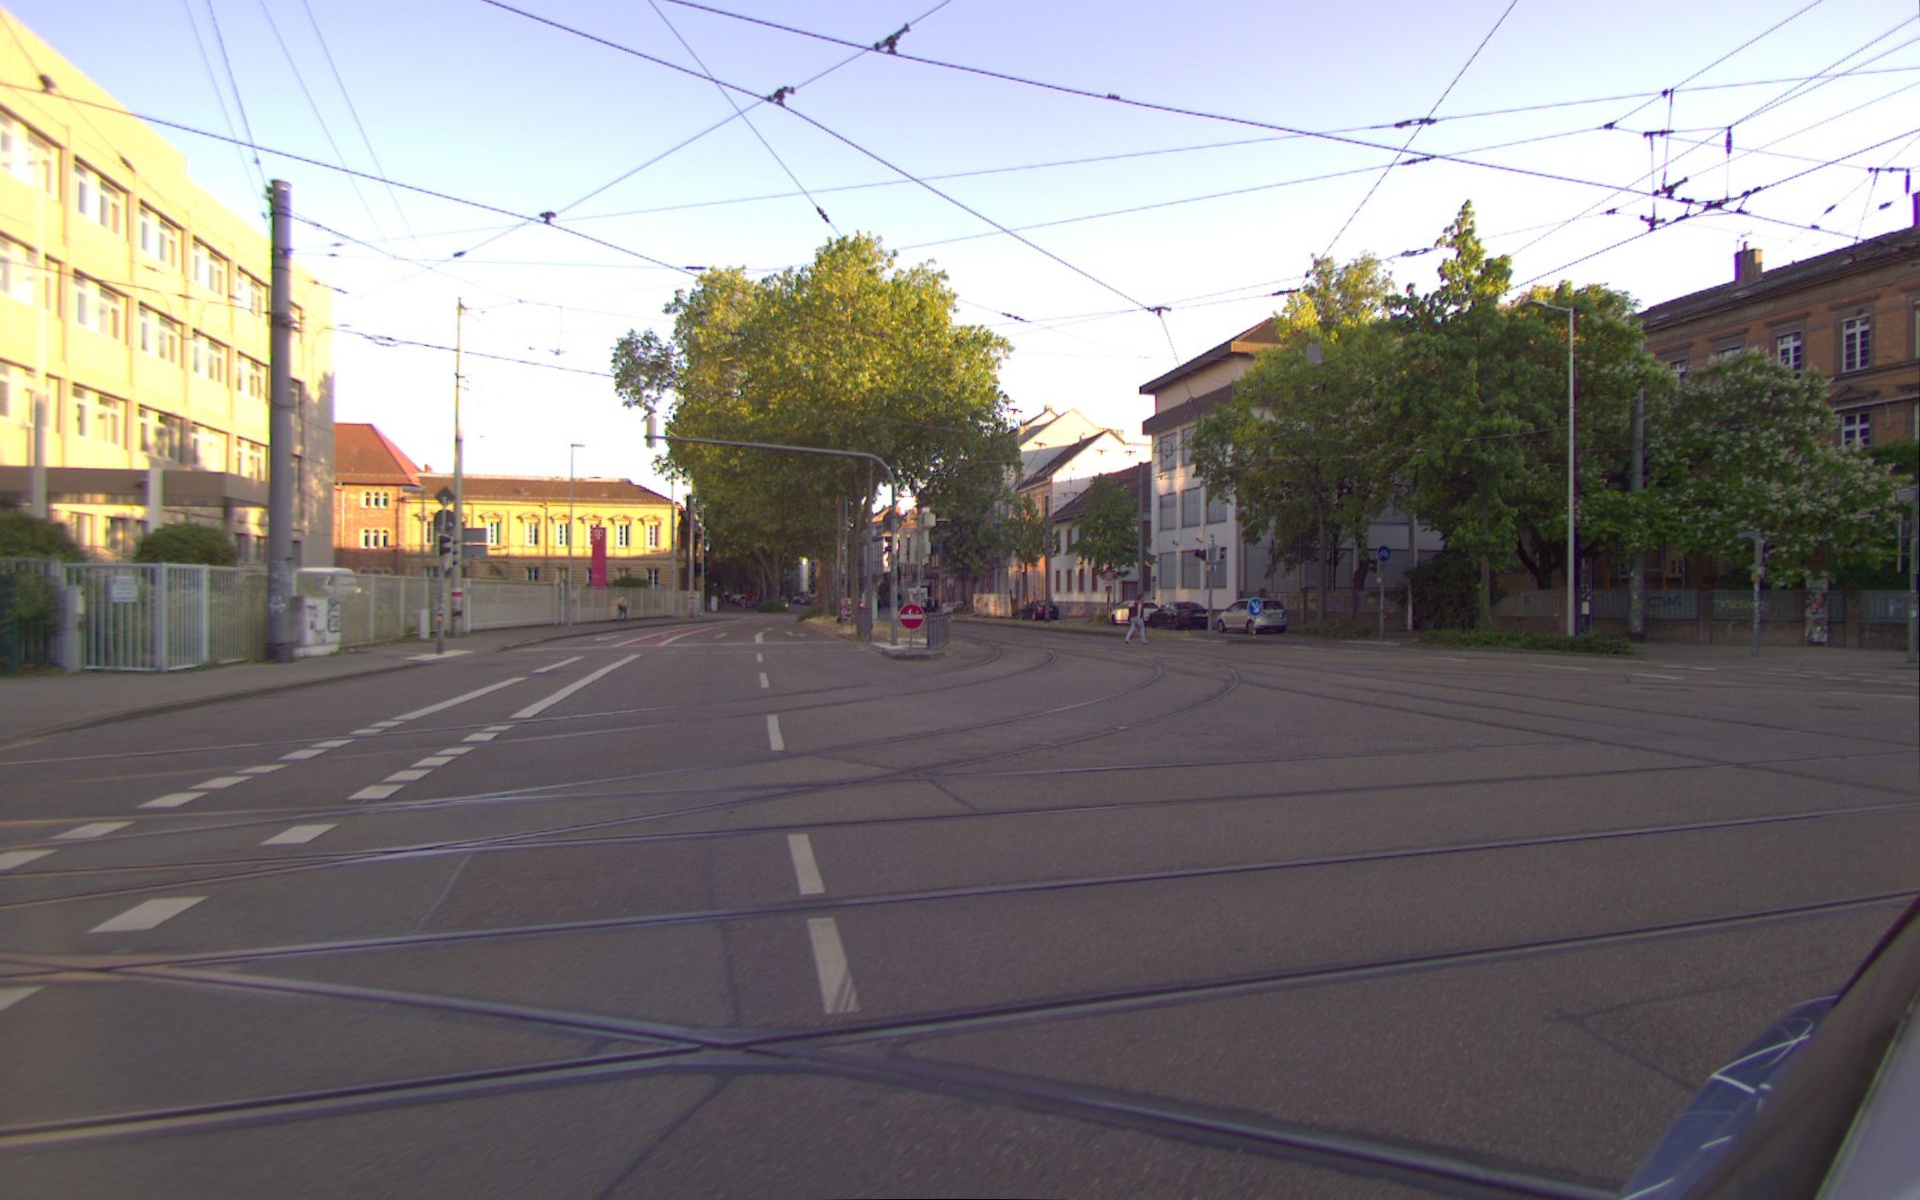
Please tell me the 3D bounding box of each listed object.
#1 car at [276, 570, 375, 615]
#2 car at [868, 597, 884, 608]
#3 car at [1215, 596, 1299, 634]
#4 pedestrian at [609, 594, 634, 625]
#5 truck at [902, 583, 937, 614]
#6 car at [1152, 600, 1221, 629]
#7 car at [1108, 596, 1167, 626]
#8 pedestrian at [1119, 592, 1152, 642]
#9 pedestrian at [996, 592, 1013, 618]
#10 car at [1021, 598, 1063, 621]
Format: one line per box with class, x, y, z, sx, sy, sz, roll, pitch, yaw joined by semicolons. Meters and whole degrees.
car;-28.743;-0.345;46.083;2.227;1.897;5.105;0;0;-12
car;-12.399;0.364;149.162;1.958;1.666;4.007;0;0;-12
car;13.383;0.650;45.810;1.875;1.571;4.008;-2;0;-13
pedestrian;-18.899;0.515;56.479;1.055;1.699;0.874;0;0;35
truck;-4.746;-0.199;116.588;3.139;3.499;8.877;0;0;-8
car;11.626;0.728;52.279;1.875;1.382;4.008;-2;0;-13
car;10.133;0.609;57.977;1.875;1.571;4.008;-2;0;-13
pedestrian;5.761;0.557;33.316;0.812;1.636;0.757;0;0;-18
pedestrian;3.552;0.414;81.246;1.144;2.039;0.887;0;-1;23
car;5.941;0.686;74.062;1.875;1.571;4.008;-2;0;-13
